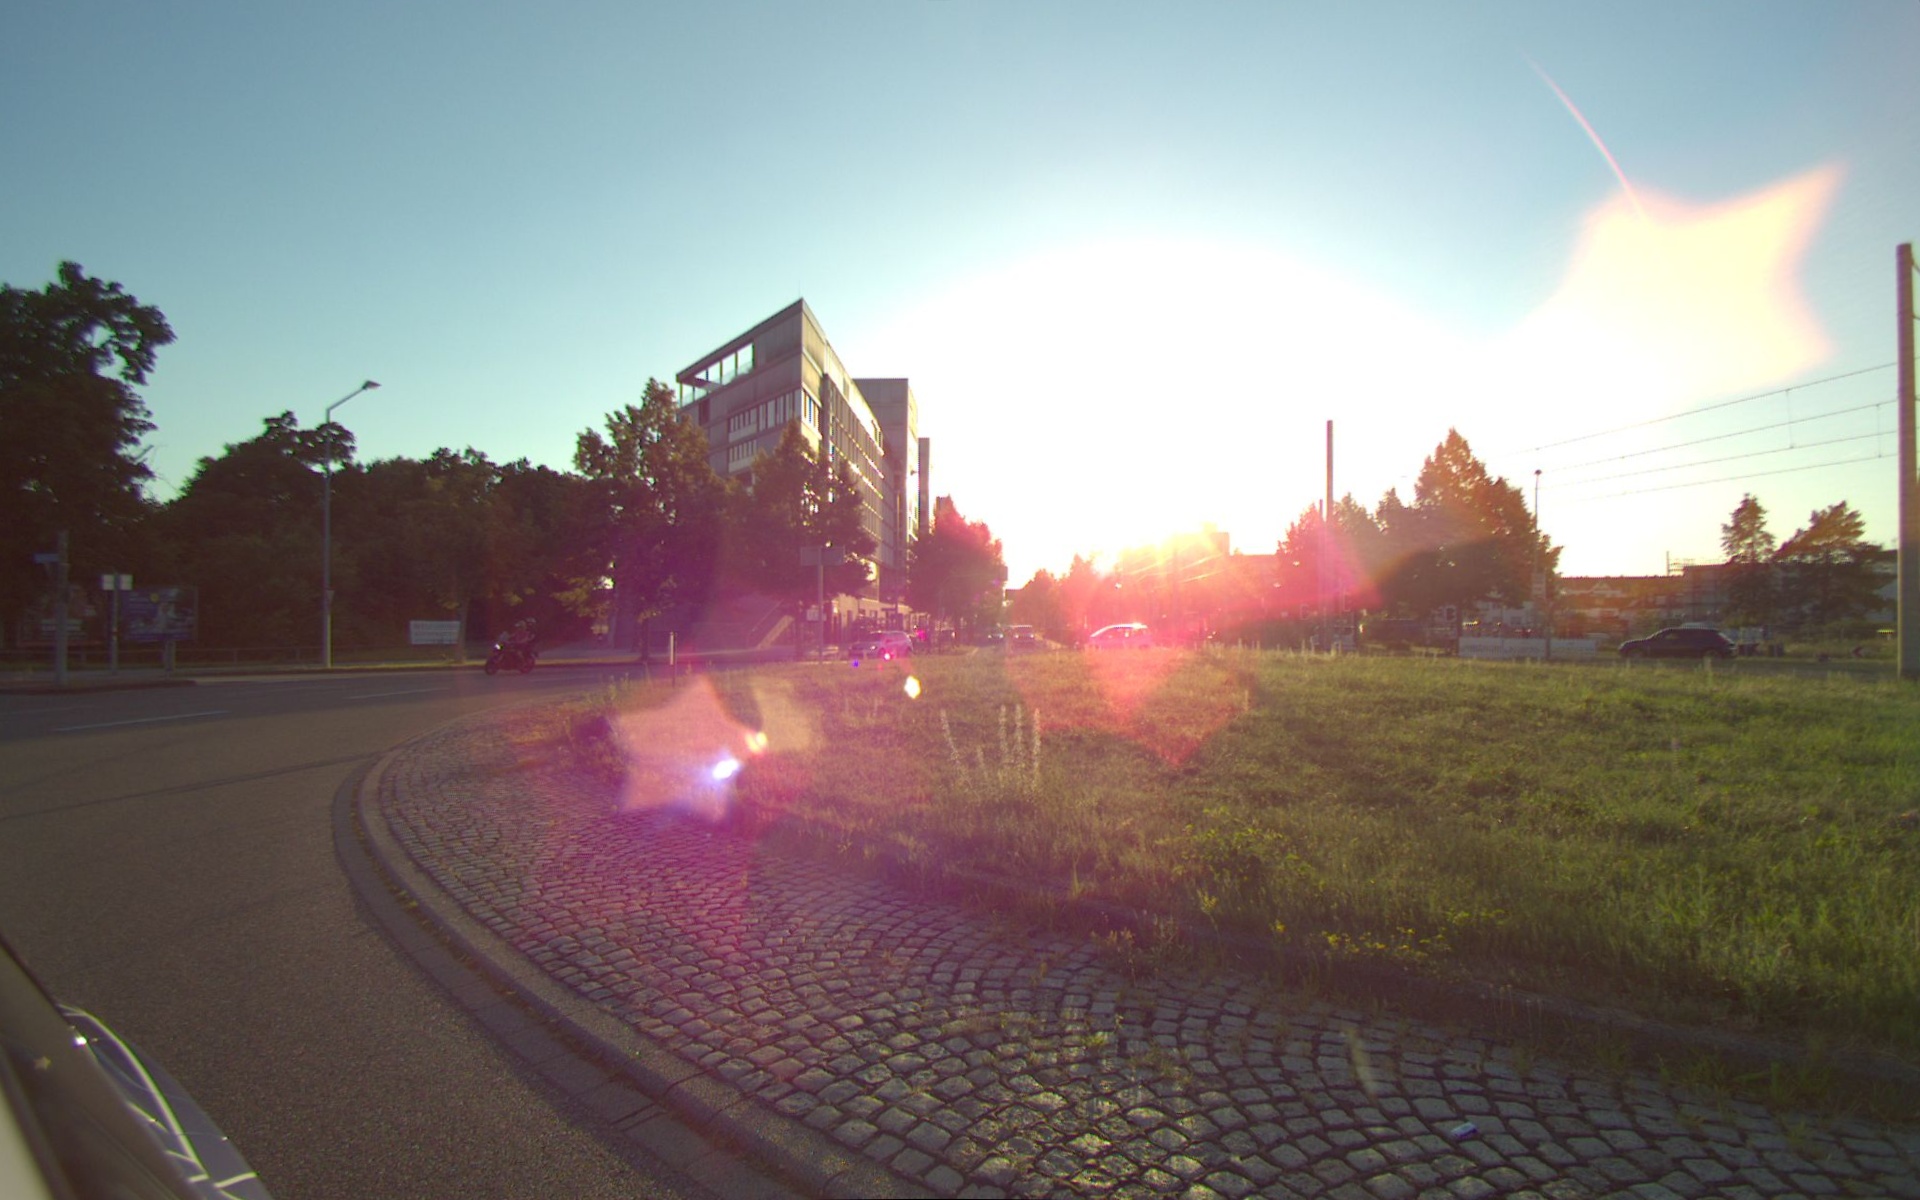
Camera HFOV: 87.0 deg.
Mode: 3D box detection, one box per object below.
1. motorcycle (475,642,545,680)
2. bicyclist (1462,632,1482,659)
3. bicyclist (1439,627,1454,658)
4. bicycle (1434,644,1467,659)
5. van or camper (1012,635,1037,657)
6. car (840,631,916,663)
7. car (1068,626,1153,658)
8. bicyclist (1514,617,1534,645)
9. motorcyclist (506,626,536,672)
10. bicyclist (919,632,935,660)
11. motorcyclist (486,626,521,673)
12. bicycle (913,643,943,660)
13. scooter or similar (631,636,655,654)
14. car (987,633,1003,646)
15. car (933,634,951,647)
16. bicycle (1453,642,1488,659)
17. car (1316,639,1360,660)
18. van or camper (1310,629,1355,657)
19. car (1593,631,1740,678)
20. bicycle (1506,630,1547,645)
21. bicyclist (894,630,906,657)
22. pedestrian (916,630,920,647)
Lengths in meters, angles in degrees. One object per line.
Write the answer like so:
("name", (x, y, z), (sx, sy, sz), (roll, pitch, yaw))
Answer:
("motorcycle", (-14.097, 1.907, 31.783), (0.555, 1.109, 2.139), (-1, -2, 28))
("bicyclist", (31.673, 2.809, 62.619), (0.805, 1.653, 0.813), (0, -2, 6))
("bicyclist", (30.992, 2.691, 64.461), (0.670, 1.933, 0.614), (0, -2, 6))
("bicycle", (31.207, 3.280, 64.410), (1.821, 0.988, 0.549), (0, -2, 6))
("van or camper", (6.068, 4.309, 95.178), (1.977, 1.972, 5.315), (0, -1, 8))
("car", (-4.007, 2.302, 50.180), (1.885, 1.492, 4.010), (-1, -2, 29))
("car", (7.000, 1.954, 47.233), (3.655, 1.476, 1.608), (0, -2, -4))
("bicyclist", (33.770, 1.846, 60.593), (0.684, 1.646, 0.800), (2, -3, -38))
("motorcyclist", (-13.937, 1.545, 32.132), (0.633, 1.419, 0.588), (-1, -2, 28))
("bicyclist", (-2.094, 2.921, 64.230), (0.840, 1.769, 0.802), (-1, -2, 9))
("motorcyclist", (-14.229, 1.536, 31.539), (0.685, 1.427, 0.708), (-1, -2, 28))
("bicycle", (-2.052, 3.282, 64.541), (1.843, 1.030, 0.436), (-1, -2, 10))
("scooter or similar", (-21.051, 2.997, 67.252), (1.561, 1.229, 0.365), (-1, -2, 13))
("car", (4.128, 4.663, 118.785), (1.779, 1.475, 3.997), (0, -2, 2))
("car", (-2.037, 4.599, 115.504), (1.779, 1.475, 3.997), (0, -2, 2))
("bicycle", (31.591, 3.120, 62.640), (1.821, 0.988, 0.549), (0, -2, 6))
("car", (25.412, 3.310, 68.136), (1.558, 1.265, 3.777), (-2, -2, 2))
("van or camper", (28.090, 3.281, 76.467), (1.891, 2.025, 5.292), (-1, -3, 6))
("car", (28.407, 2.163, 40.812), (1.726, 1.761, 4.600), (2, -3, -45))
("bicycle", (33.917, 2.242, 60.607), (0.504, 0.852, 2.140), (2, -3, -38))
("bicyclist", (-3.713, 2.699, 62.793), (0.674, 1.661, 0.685), (0, -2, -7))
("pedestrian", (-5.149, 4.698, 123.769), (0.531, 2.029, 0.527), (0, -2, 2))
